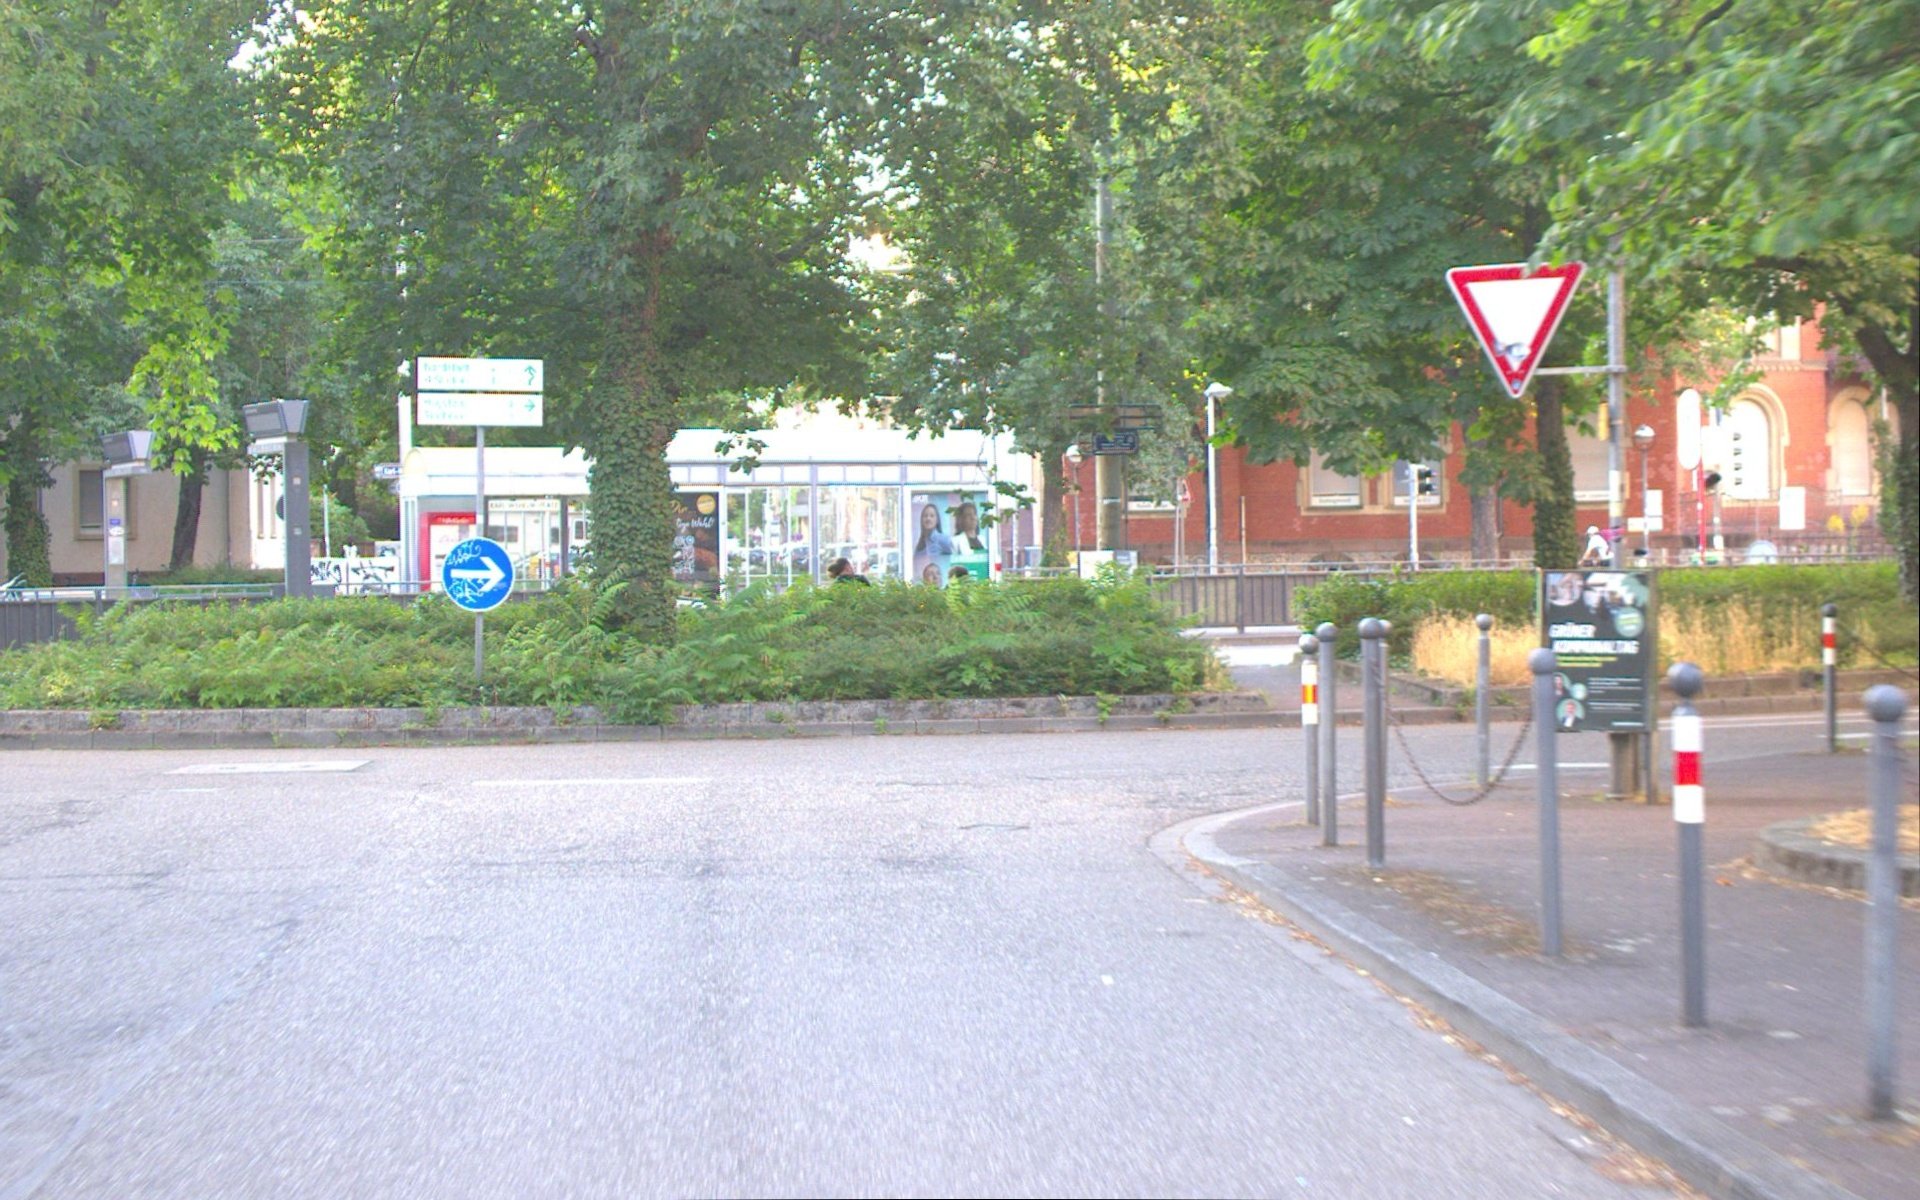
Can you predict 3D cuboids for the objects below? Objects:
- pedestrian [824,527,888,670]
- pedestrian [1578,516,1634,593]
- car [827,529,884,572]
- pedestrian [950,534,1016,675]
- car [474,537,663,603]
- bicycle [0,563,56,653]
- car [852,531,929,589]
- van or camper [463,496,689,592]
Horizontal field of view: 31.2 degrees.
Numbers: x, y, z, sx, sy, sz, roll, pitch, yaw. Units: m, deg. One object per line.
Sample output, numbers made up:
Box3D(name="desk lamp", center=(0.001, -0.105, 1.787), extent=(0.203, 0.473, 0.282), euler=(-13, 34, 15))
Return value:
Box3D(name="pedestrian", center=(-1.055, -0.022, 34.918), extent=(0.616, 1.426, 0.655), euler=(-1, 1, -3))
Box3D(name="pedestrian", center=(12.926, -0.917, 68.807), extent=(0.866, 1.521, 0.714), euler=(0, 1, 34))
Box3D(name="car", center=(-4.287, -2.032, 140.264), extent=(1.993, 1.698, 4.721), euler=(1, 1, -5))
Box3D(name="pedestrian", center=(0.235, 0.040, 35.266), extent=(0.616, 1.426, 0.655), euler=(-1, 1, -3))
Box3D(name="car", center=(-10.476, -0.798, 91.780), extent=(4.949, 1.698, 2.001), euler=(0, 1, -8))
Box3D(name="bicycle", center=(-11.766, 0.104, 40.940), extent=(1.849, 1.048, 0.546), euler=(-1, 1, -26))
Box3D(name="car", center=(-2.140, -1.232, 104.723), extent=(1.993, 1.698, 4.721), euler=(1, 1, -5))
Box3D(name="van or camper", center=(-12.791, -1.854, 114.406), extent=(7.363, 3.072, 2.674), euler=(0, 1, -8))
